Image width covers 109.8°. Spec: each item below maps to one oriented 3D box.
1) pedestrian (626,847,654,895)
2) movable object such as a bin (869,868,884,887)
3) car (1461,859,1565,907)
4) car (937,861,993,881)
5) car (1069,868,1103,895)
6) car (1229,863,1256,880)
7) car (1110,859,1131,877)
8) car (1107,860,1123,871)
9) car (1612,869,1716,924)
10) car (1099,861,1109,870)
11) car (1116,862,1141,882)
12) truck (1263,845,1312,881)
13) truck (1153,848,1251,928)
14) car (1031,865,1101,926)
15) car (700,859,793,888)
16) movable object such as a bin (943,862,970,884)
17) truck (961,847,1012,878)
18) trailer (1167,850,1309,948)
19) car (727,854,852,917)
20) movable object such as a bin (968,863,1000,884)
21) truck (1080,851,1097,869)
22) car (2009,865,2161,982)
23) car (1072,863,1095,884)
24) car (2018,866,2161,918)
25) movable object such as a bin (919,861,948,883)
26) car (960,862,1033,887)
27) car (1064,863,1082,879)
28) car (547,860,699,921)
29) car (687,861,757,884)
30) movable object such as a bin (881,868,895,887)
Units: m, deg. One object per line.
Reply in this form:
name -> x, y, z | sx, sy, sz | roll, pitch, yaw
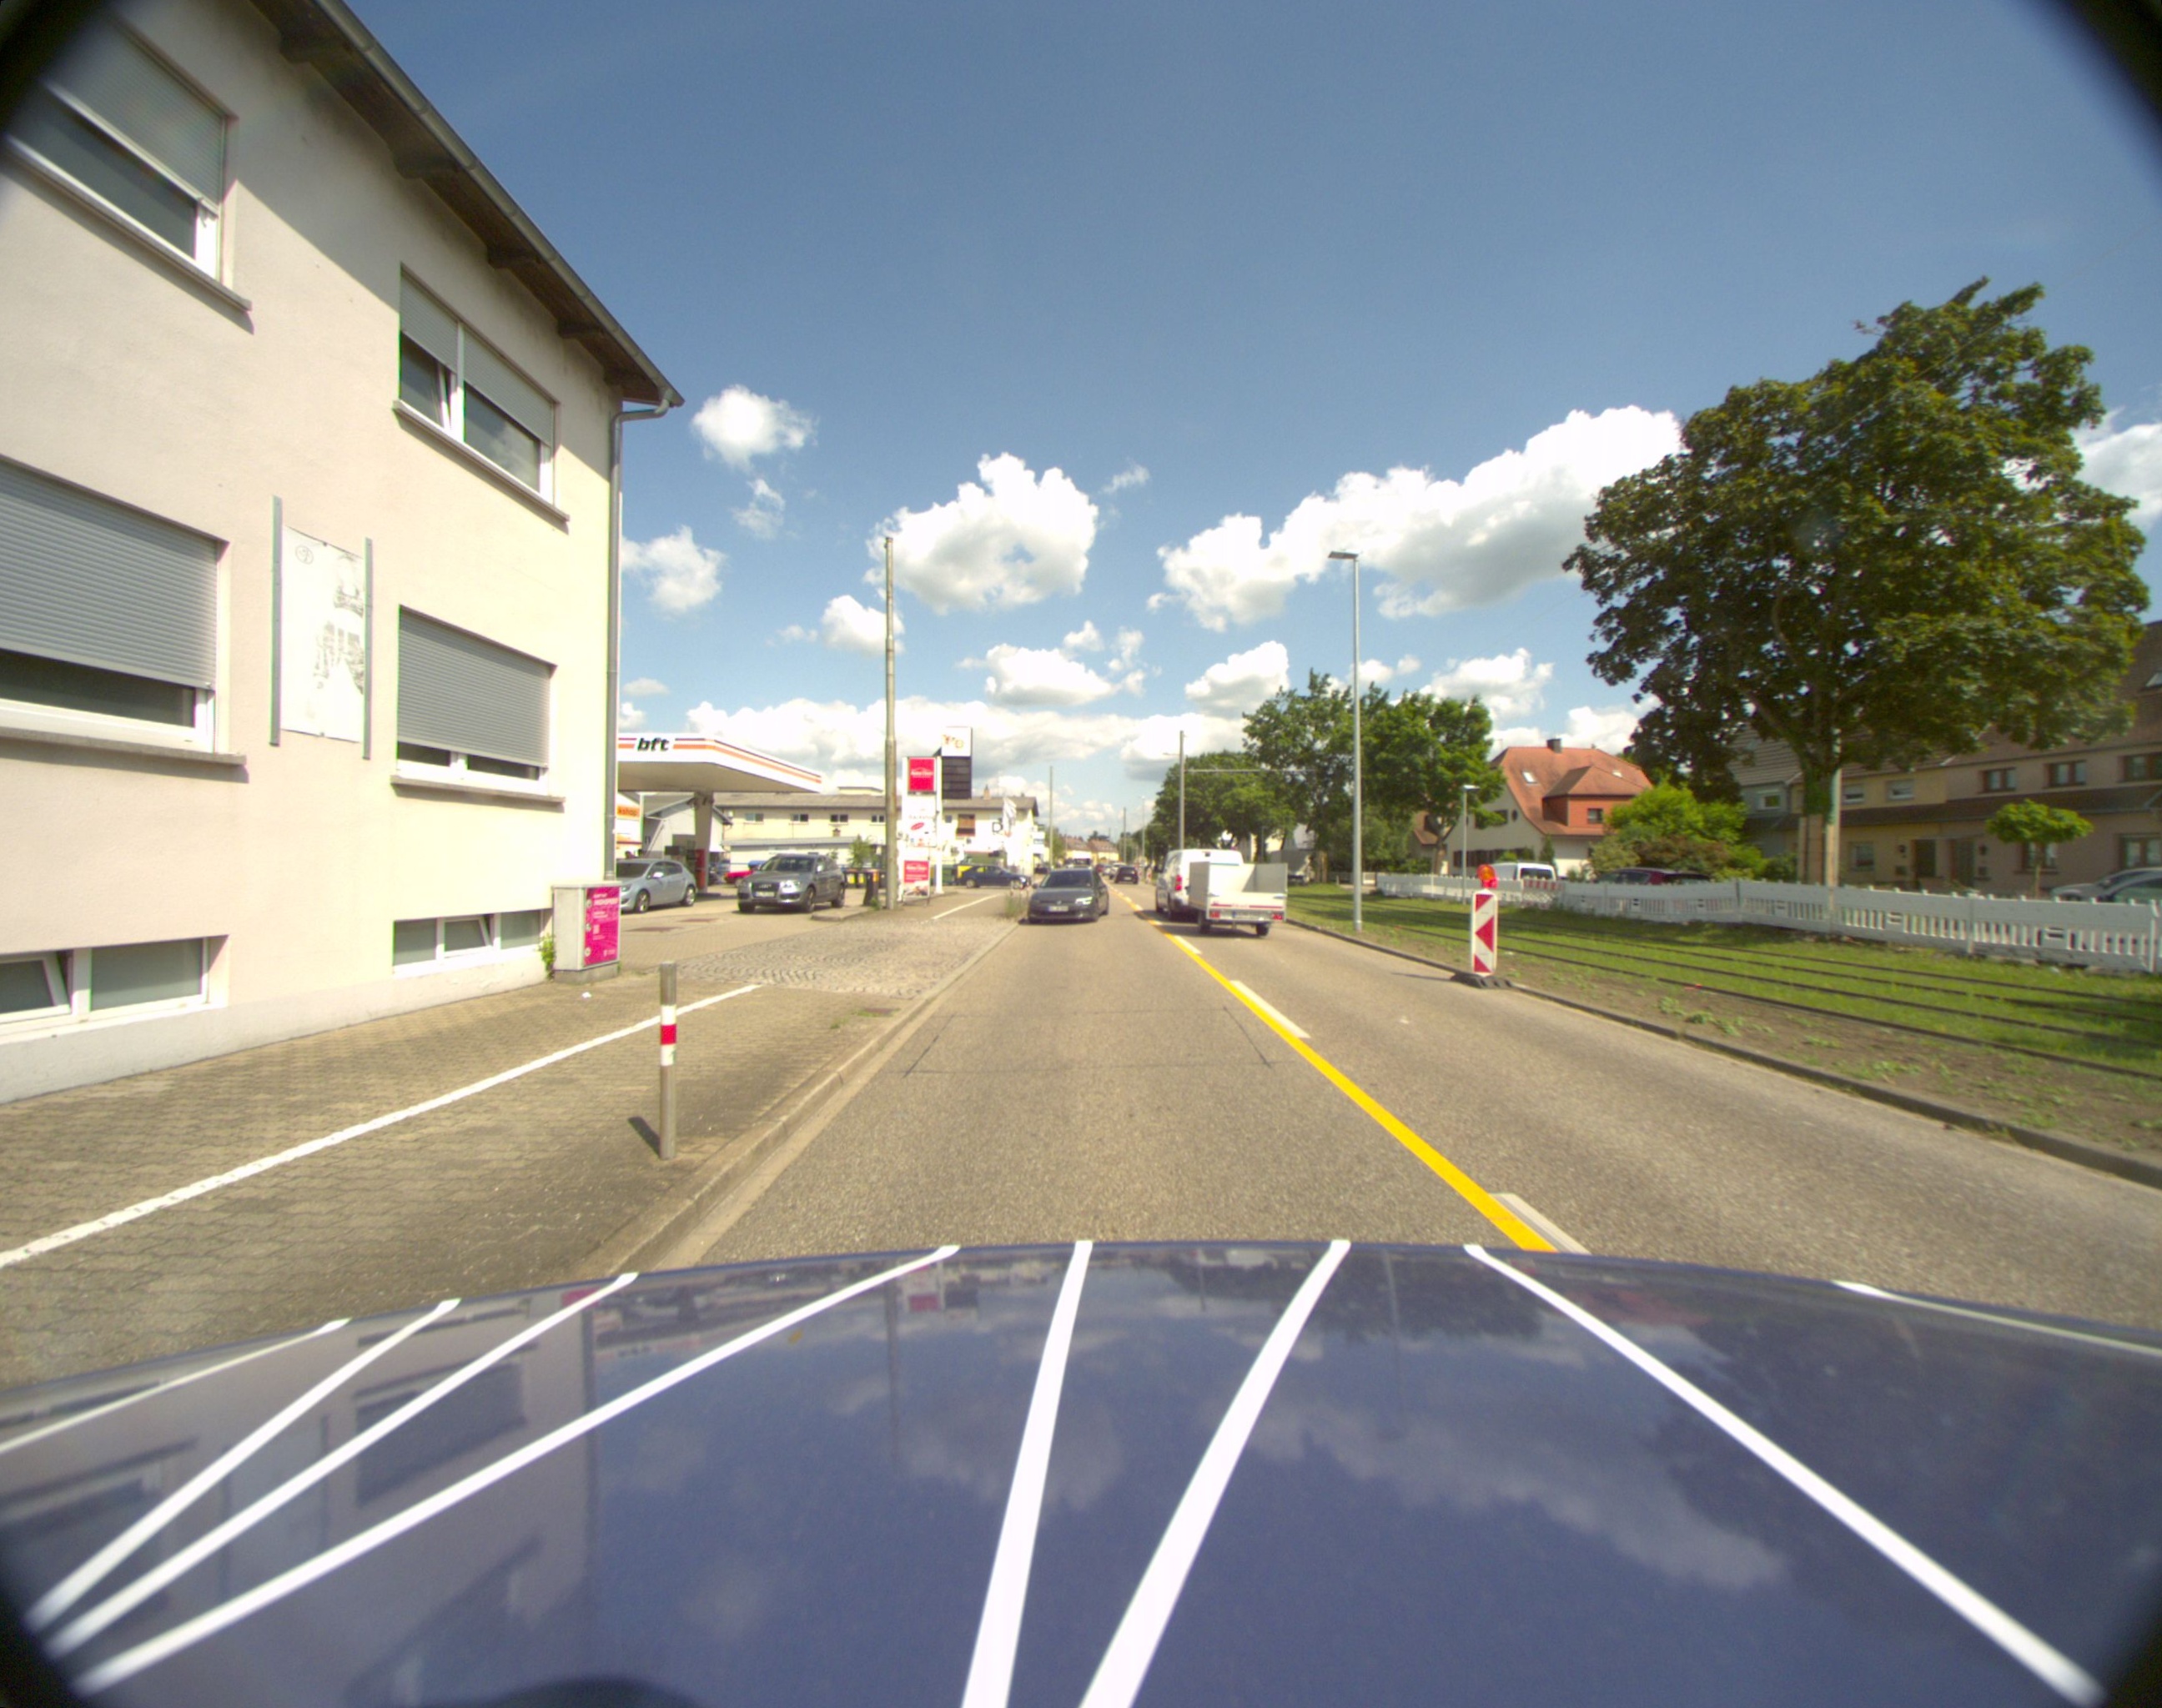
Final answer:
pedestrian -> -16.227, 0.620, 27.980 | 0.687, 1.712, 0.618 | -1, 1, -11
movable object such as a bin -> -11.438, 1.322, 42.494 | 0.582, 1.004, 0.706 | -1, 1, -1
car -> 16.366, 1.048, 29.030 | 1.657, 1.616, 4.000 | 1, 0, 0
car -> -8.936, 1.300, 58.502 | 3.902, 1.454, 1.628 | 0, 1, 17
car -> 0.277, 1.428, 40.854 | 1.732, 1.259, 4.000 | -1, 0, 1
car -> 15.414, 1.633, 72.729 | 1.672, 1.504, 3.930 | -1, 0, 0
car -> 3.864, 1.364, 74.545 | 1.829, 1.656, 4.462 | 2, 0, 0
car -> 4.382, 1.487, 98.592 | 1.826, 1.436, 4.484 | 2, -1, 0
car -> 16.013, 1.132, 20.976 | 1.075, 1.340, 2.449 | 1, 0, 4
car -> 4.024, 2.029, 133.829 | 1.582, 1.461, 3.720 | 2, 0, 0
car -> 3.734, 1.367, 60.191 | 1.697, 1.404, 3.859 | 3, 0, 0
truck -> 16.701, 0.690, 61.699 | 2.371, 2.788, 5.951 | -1, 0, 1
truck -> 3.213, 0.815, 21.223 | 1.824, 1.898, 5.115 | 2, 1, 0
car -> -0.323, 1.078, 21.287 | 1.743, 1.410, 4.381 | -1, 0, 1
car -> -17.739, 1.002, 40.448 | 4.144, 1.416, 1.771 | 1, 1, 2
movable object such as a bin -> -8.342, 1.261, 51.074 | 1.536, 1.402, 1.765 | -1, 0, 0
truck -> -8.509, 0.772, 68.593 | 4.181, 2.645, 2.108 | -1, 1, 1
trailer -> 3.353, 0.858, 17.474 | 2.067, 1.825, 5.485 | 3, 0, 0
car -> -8.276, 0.823, 22.082 | 1.951, 1.615, 4.615 | 1, 0, -2
movable object such as a bin -> -6.584, 1.289, 51.695 | 1.968, 1.339, 1.708 | -1, 0, 0
truck -> 1.230, 0.910, 123.344 | 2.632, 2.871, 7.924 | -1, 0, 1
car -> 16.321, 1.036, 10.725 | 1.626, 1.642, 3.899 | 1, 0, 0
car -> 0.220, 1.407, 56.345 | 1.594, 1.418, 3.707 | -1, 0, 1
car -> 28.524, 1.015, 20.447 | 1.537, 1.267, 4.120 | 1, 0, 0
movable object such as a bin -> -9.885, 1.196, 51.030 | 1.536, 1.402, 1.765 | -1, 0, 0
car -> -4.969, 1.225, 45.002 | 4.061, 1.400, 1.648 | 0, 1, 6
car -> -0.764, 1.552, 71.069 | 1.517, 1.350, 3.728 | -1, 0, -4
car -> -12.561, 0.917, 21.215 | 1.696, 1.462, 4.422 | 0, 0, -2
car -> -20.605, 1.054, 43.733 | 3.309, 1.218, 1.487 | 1, 1, 2
movable object such as a bin -> -10.798, 1.307, 42.478 | 0.582, 1.004, 0.706 | -1, 1, -1
